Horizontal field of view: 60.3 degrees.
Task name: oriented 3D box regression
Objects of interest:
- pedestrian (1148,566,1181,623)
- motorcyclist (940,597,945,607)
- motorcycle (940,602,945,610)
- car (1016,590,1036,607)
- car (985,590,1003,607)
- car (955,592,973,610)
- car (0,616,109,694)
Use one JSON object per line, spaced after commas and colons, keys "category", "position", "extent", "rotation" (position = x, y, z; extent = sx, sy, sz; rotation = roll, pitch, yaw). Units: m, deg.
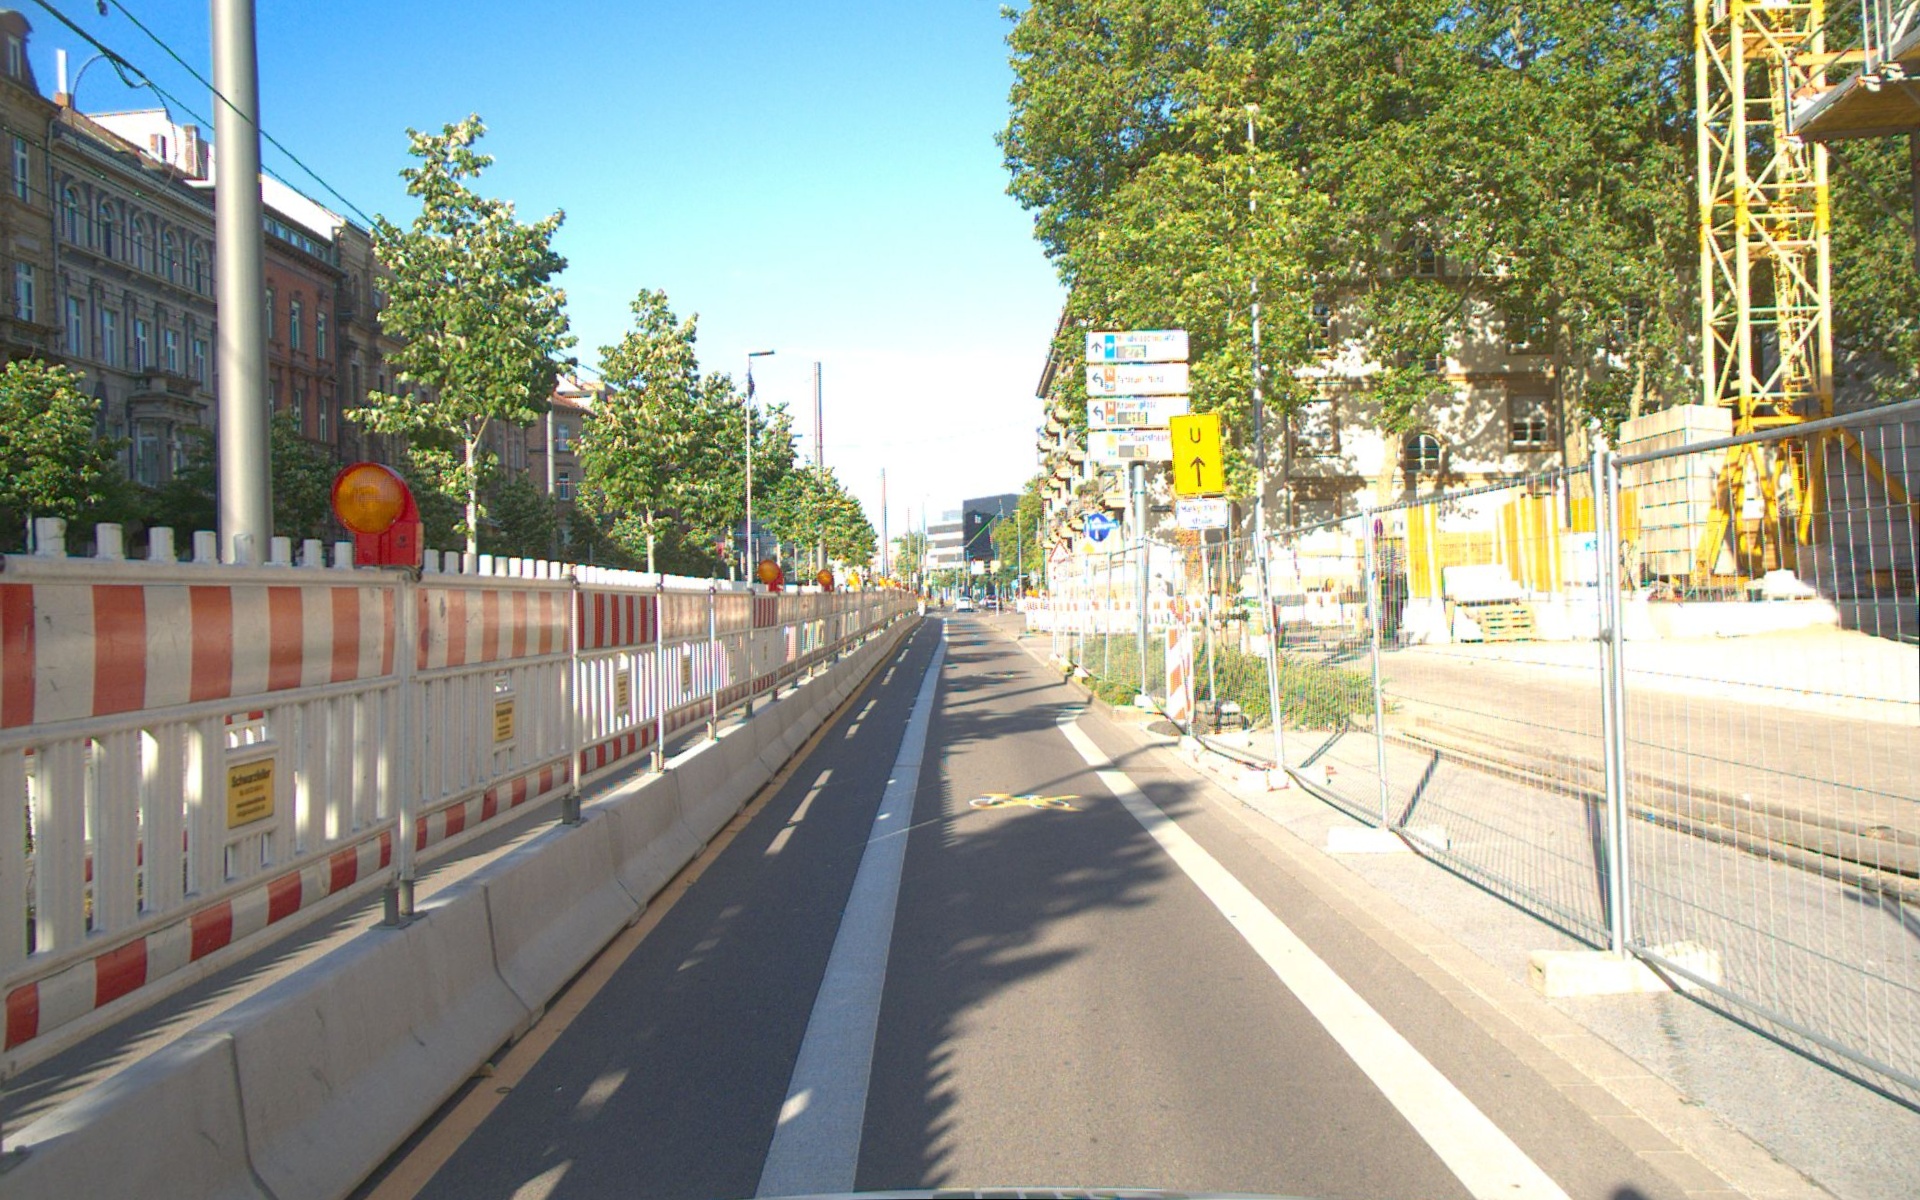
{"category": "pedestrian", "position": [6.452, -0.172, 52.219], "extent": [0.764, 1.776, 0.667], "rotation": [-1, 1, 41]}
{"category": "motorcyclist", "position": [-2.207, 0.220, 211.814], "extent": [0.618, 1.285, 0.605], "rotation": [-2, 0, -1]}
{"category": "motorcycle", "position": [-2.192, 0.778, 211.742], "extent": [0.618, 0.912, 1.621], "rotation": [-2, 1, 0]}
{"category": "car", "position": [6.467, -0.162, 163.303], "extent": [1.844, 1.617, 3.668], "rotation": [-2, 1, 0]}
{"category": "car", "position": [3.904, -0.210, 190.557], "extent": [1.845, 1.875, 3.667], "rotation": [-2, 1, 0]}
{"category": "car", "position": [0.460, 0.063, 178.604], "extent": [1.845, 1.875, 3.667], "rotation": [-2, 1, 0]}
{"category": "car", "position": [-21.737, 1.248, 38.409], "extent": [1.534, 1.590, 4.714], "rotation": [-2, 1, -1]}
